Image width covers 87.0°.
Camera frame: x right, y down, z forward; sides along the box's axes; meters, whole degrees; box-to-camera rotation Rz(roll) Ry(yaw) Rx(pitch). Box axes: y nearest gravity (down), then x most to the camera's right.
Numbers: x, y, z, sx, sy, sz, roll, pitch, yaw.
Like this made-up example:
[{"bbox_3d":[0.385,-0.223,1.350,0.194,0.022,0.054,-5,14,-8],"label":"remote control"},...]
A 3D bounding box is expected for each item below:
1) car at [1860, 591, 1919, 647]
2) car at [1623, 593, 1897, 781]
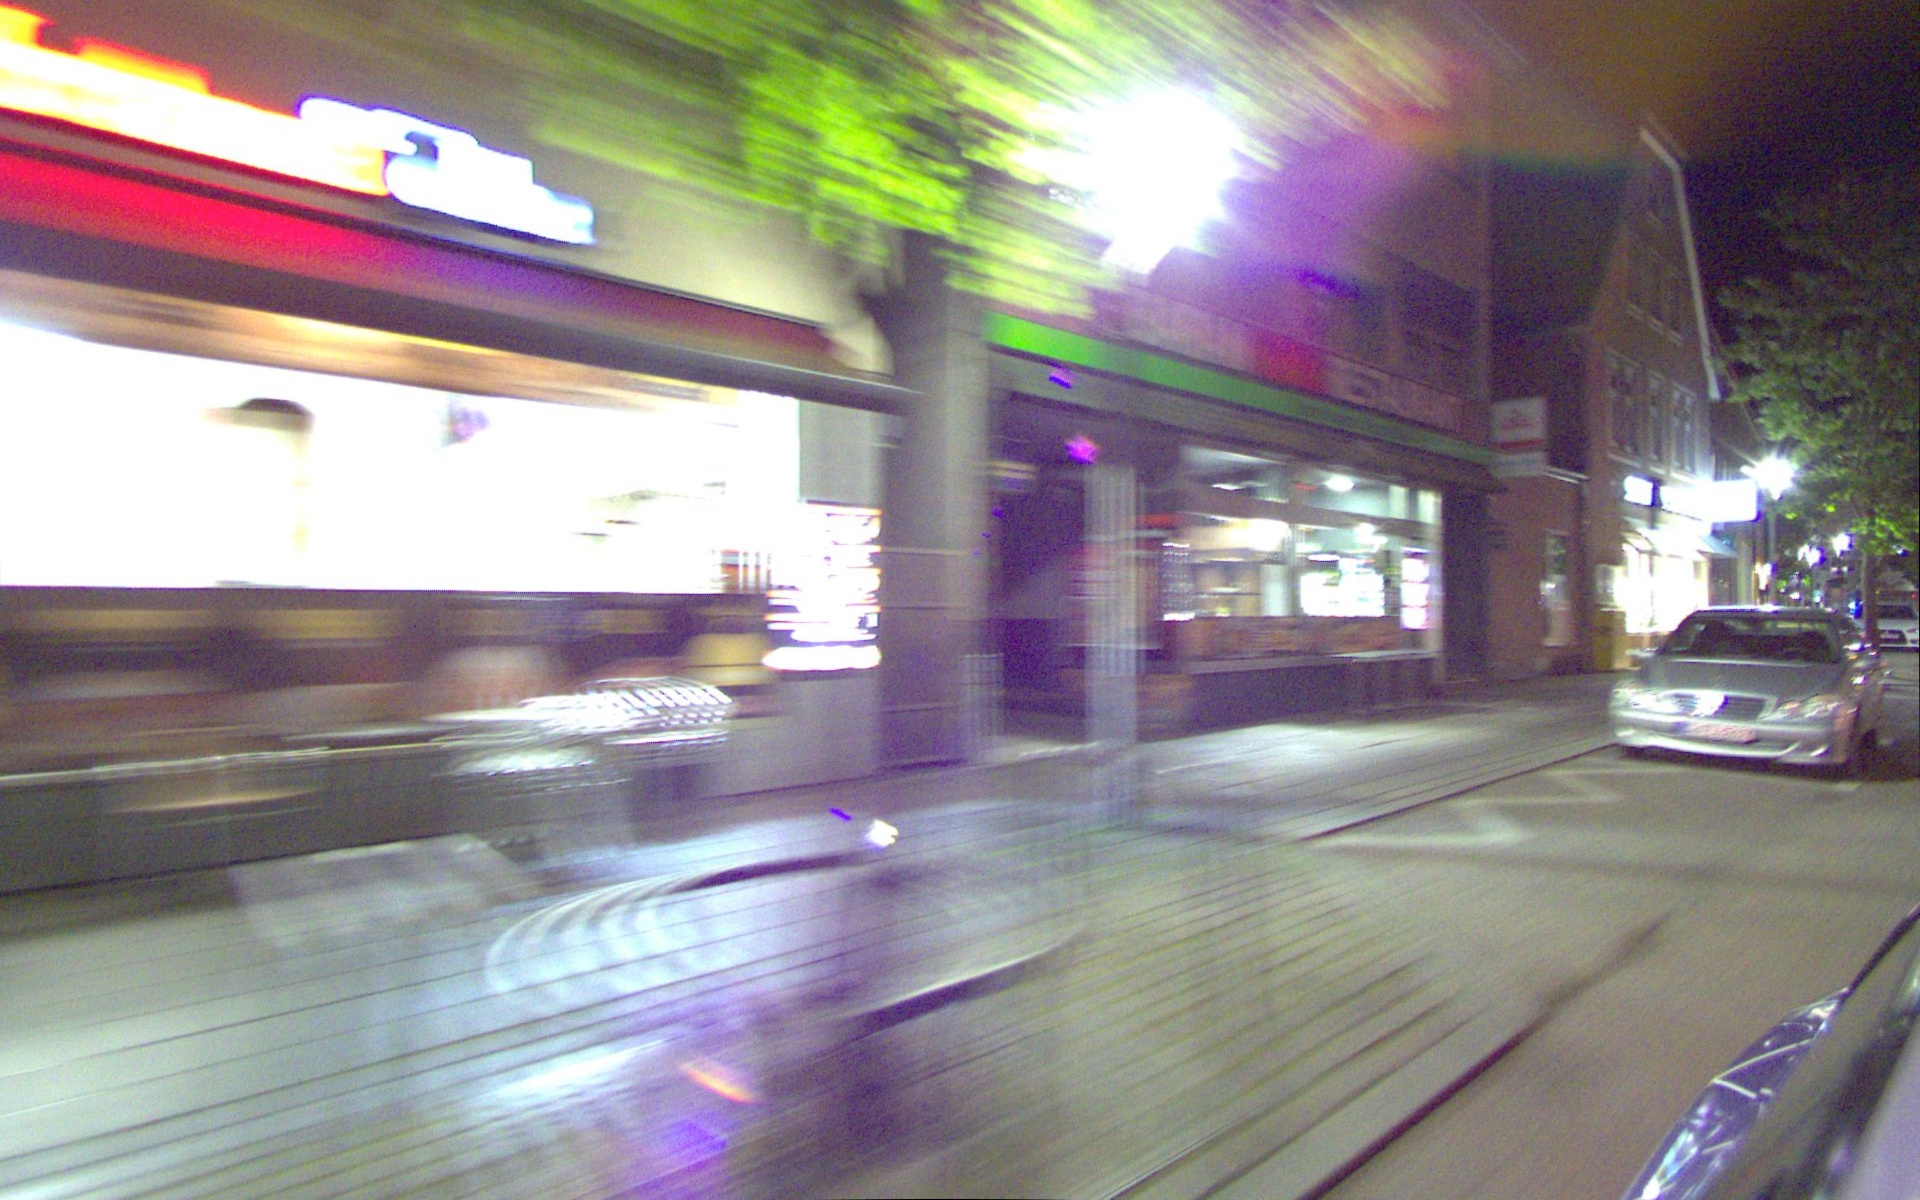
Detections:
[{"bbox_3d":[28.498,0.522,30.698,1.741,1.506,4.568,0,1,41],"label":"car"},{"bbox_3d":[8.113,0.676,10.098,1.734,1.459,4.425,0,0,44],"label":"car"}]
